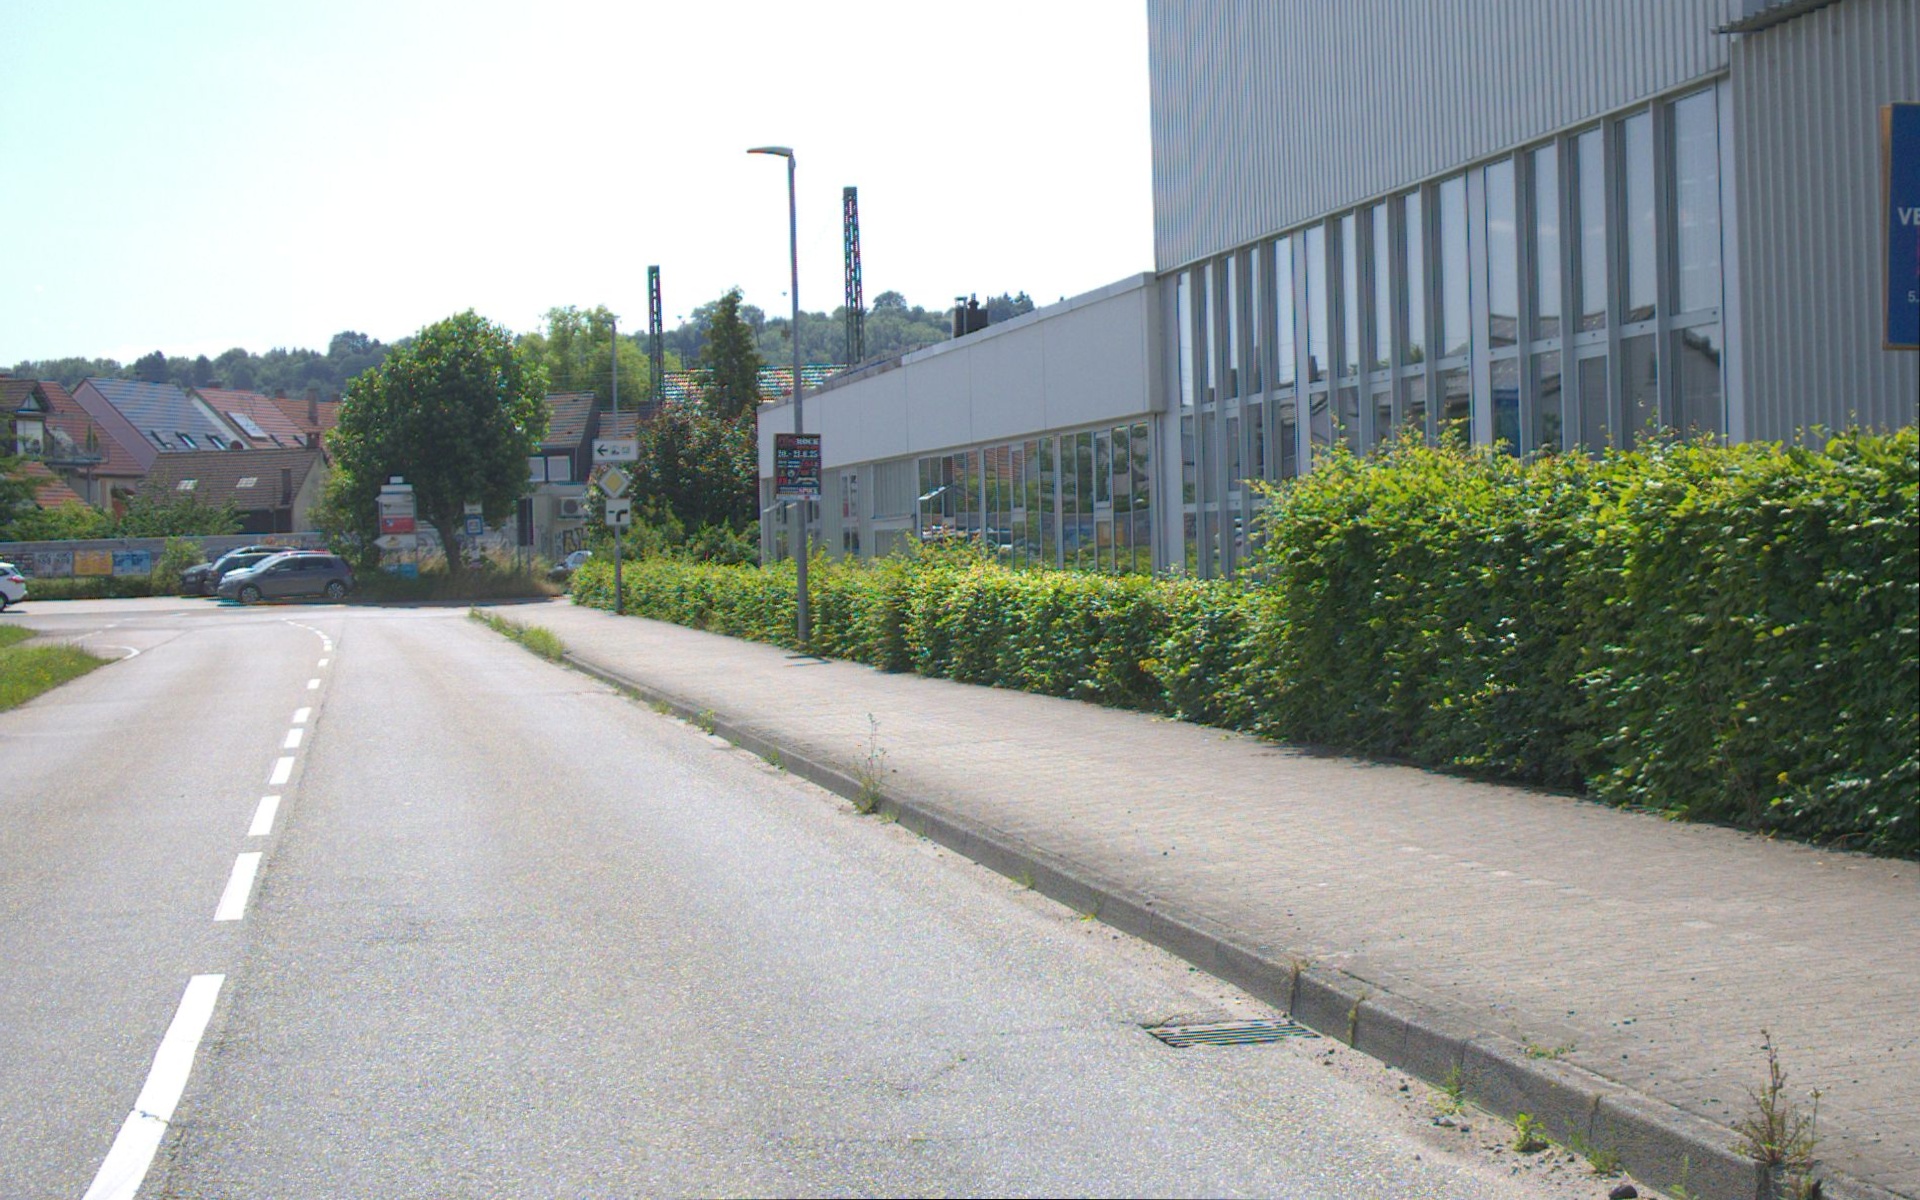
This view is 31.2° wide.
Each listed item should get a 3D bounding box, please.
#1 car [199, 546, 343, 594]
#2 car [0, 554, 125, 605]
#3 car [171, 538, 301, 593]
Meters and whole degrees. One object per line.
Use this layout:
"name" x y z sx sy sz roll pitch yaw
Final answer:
"car" -21.309 -0.924 106.293 4.186 1.458 1.665 0 0 -19
"car" -27.571 -0.614 103.883 4.282 1.472 1.828 1 0 -22
"car" -23.878 -1.134 113.345 3.986 1.724 1.771 1 0 -20
